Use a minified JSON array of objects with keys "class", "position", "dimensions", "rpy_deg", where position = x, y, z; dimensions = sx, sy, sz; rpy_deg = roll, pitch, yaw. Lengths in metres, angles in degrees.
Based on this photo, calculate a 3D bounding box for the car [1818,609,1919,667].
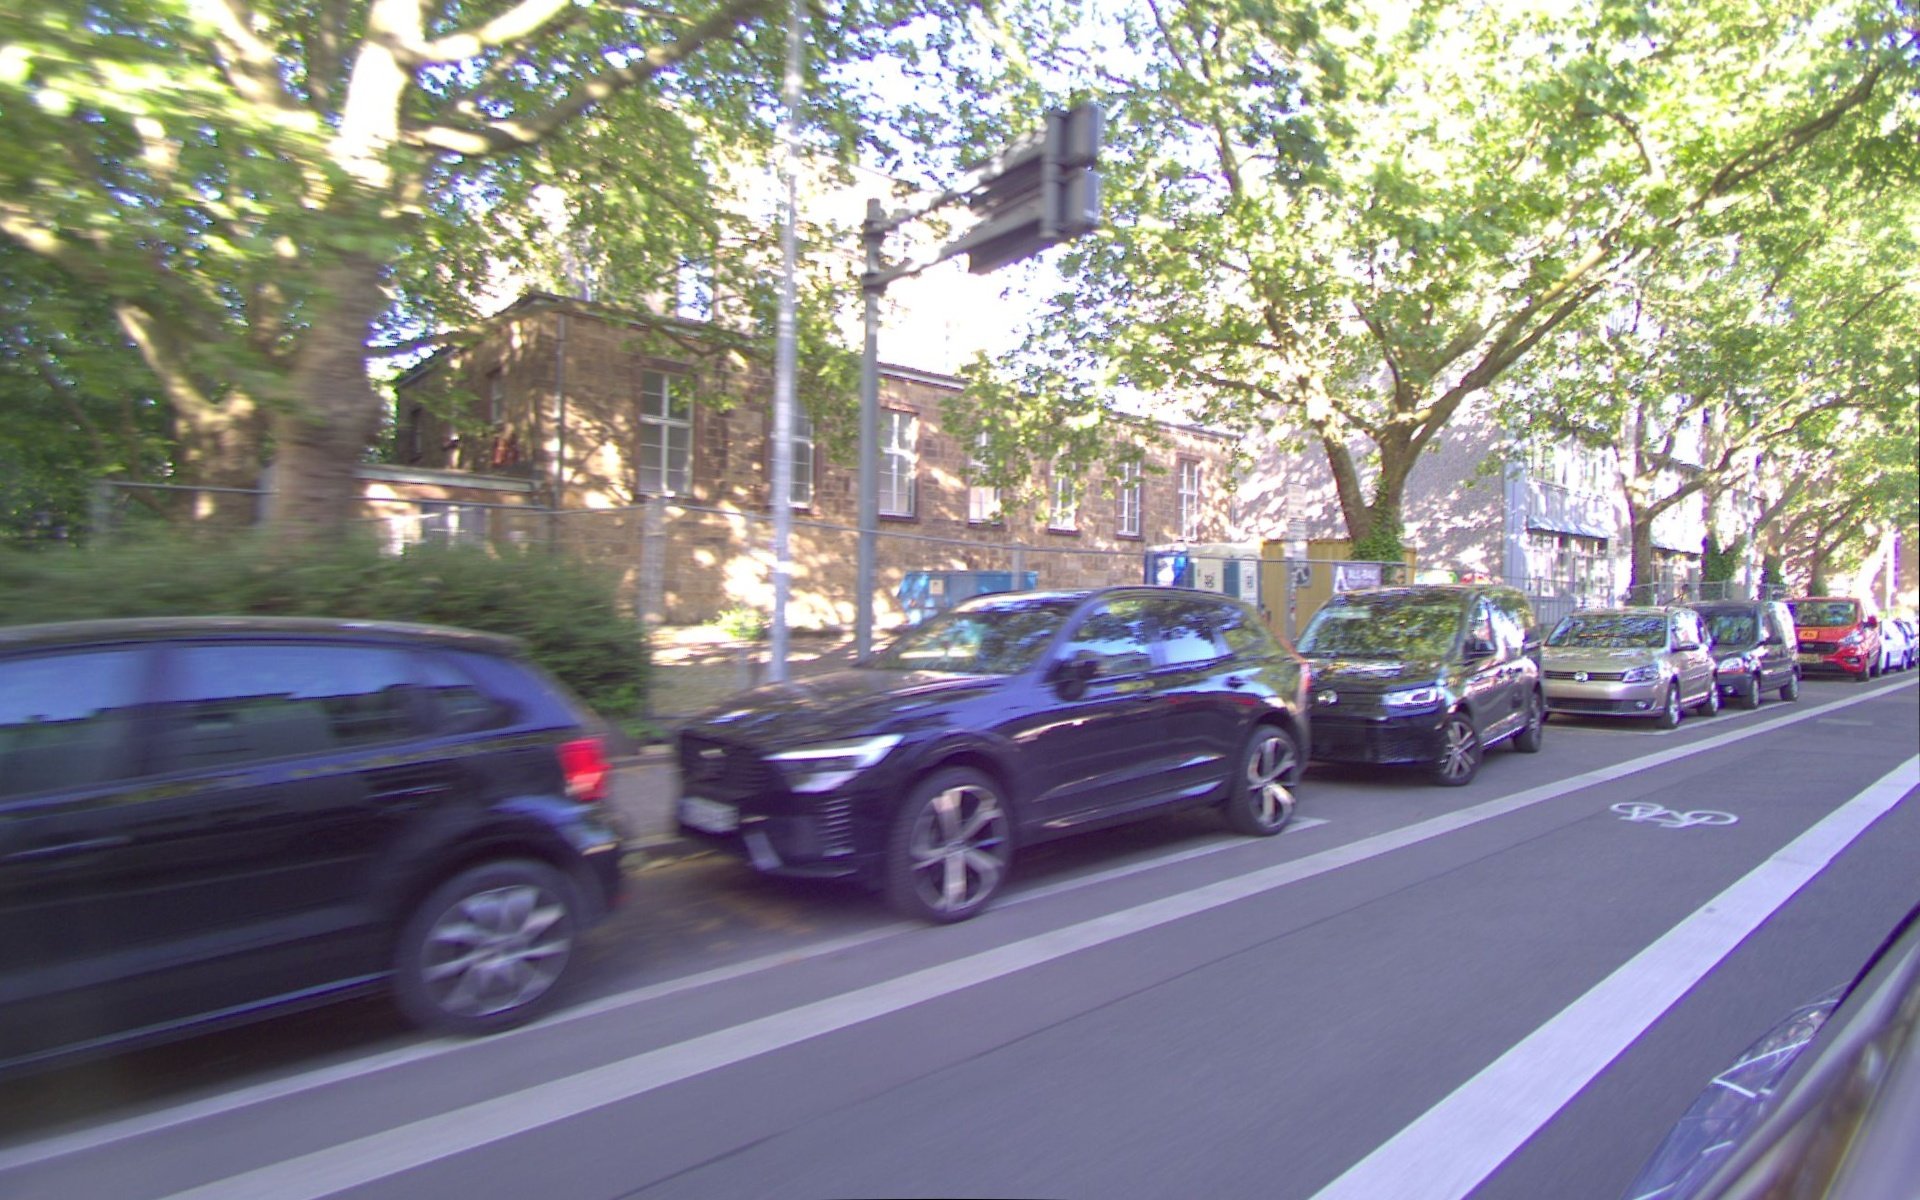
[{"class":"car","position":[25.125,1.012,27.865],"dimensions":[3.691,1.504,1.641],"rpy_deg":[1,-2,-39]}]

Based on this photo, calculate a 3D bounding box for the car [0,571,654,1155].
[{"class":"car","position":[-3.189,0.697,3.172],"dimensions":[3.952,1.523,1.694],"rpy_deg":[1,-2,-43]}]

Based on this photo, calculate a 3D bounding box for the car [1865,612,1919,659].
[{"class":"car","position":[31.742,1.159,33.984],"dimensions":[3.432,1.494,1.615],"rpy_deg":[1,-2,-42]}]

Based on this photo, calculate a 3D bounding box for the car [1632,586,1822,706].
[{"class":"car","position":[13.259,0.730,17.413],"dimensions":[4.056,1.836,1.696],"rpy_deg":[1,-2,-40]}]

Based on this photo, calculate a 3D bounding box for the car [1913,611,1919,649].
[{"class":"car","position":[40.653,1.208,41.541],"dimensions":[4.222,1.542,1.858],"rpy_deg":[1,-1,-42]}]

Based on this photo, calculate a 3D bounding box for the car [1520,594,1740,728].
[{"class":"car","position":[9.727,0.774,14.555],"dimensions":[4.257,1.649,1.694],"rpy_deg":[1,-2,-43]}]

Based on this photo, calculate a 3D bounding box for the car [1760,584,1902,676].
[{"class":"car","position":[21.547,0.696,24.956],"dimensions":[5.084,2.019,2.080],"rpy_deg":[1,-1,-43]}]

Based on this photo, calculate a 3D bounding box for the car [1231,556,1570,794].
[{"class":"car","position":[4.712,0.621,10.363],"dimensions":[1.822,1.865,4.826],"rpy_deg":[-1,-1,41]}]

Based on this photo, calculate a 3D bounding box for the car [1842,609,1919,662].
[{"class":"car","position":[28.716,1.077,31.251],"dimensions":[3.863,1.530,1.856],"rpy_deg":[1,-2,-44]}]

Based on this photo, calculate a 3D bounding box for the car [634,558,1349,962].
[{"class":"car","position":[0.499,0.681,6.352],"dimensions":[4.541,1.649,1.778],"rpy_deg":[1,-2,-42]}]

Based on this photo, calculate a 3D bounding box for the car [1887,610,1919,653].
[{"class":"car","position":[36.069,1.167,37.669],"dimensions":[4.519,1.542,1.857],"rpy_deg":[1,-2,-42]}]
